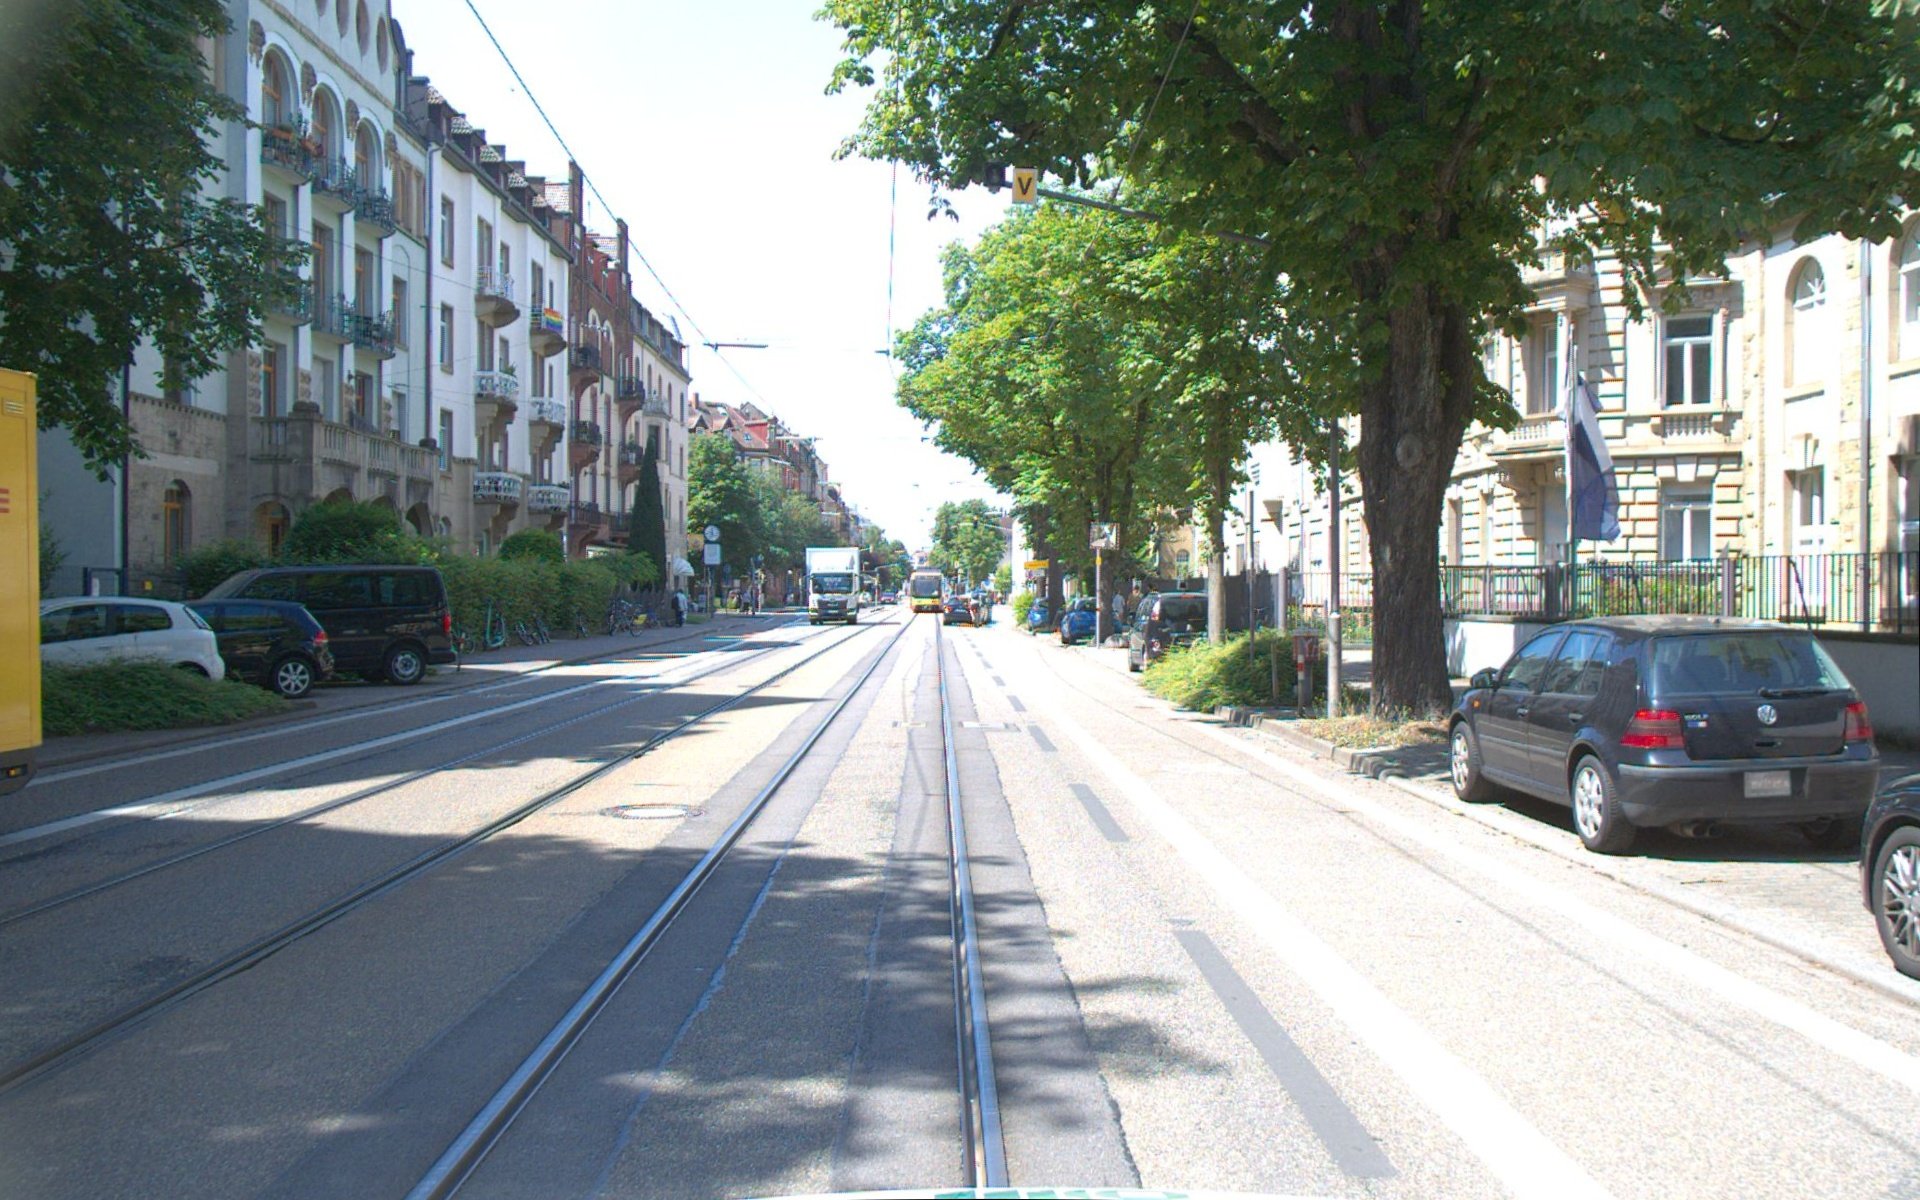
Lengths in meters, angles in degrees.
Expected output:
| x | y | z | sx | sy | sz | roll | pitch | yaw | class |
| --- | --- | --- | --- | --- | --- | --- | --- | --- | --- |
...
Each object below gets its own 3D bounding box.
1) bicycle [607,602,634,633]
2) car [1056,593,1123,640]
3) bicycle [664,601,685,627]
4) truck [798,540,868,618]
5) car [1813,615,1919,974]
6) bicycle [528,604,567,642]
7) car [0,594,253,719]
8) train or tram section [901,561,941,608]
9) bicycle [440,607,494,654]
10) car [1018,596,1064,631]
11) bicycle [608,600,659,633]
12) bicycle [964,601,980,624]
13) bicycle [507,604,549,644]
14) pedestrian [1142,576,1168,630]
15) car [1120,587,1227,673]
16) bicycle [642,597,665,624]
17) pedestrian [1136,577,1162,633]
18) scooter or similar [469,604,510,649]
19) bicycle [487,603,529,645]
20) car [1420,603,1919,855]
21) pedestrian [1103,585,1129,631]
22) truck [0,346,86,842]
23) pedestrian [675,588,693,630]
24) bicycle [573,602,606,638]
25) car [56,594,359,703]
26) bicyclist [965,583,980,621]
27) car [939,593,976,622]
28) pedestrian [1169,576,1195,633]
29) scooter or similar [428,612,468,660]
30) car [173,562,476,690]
| x | y | z | sx | sy | sz | roll | pitch | yaw | class |
| --- | --- | --- | --- | --- | --- | --- | --- | --- | --- |
| -11.339 | 0.577 | 55.297 | 0.532 | 0.986 | 1.781 | 2 | 1 | -1 | bicycle |
| 4.111 | 0.513 | 53.055 | 1.676 | 1.448 | 4.308 | 0 | 0 | -2 | car |
| -11.449 | 0.547 | 66.396 | 0.532 | 0.986 | 1.781 | 2 | 1 | -1 | bicycle |
| -6.148 | -1.043 | 81.146 | 2.880 | 3.612 | 8.451 | 0 | 1 | -1 | truck |
| 4.916 | 0.804 | 5.442 | 1.838 | 1.480 | 4.527 | 0 | 0 | -1 | car |
| -11.126 | 0.634 | 44.684 | 0.532 | 0.986 | 1.989 | 2 | -1 | -1 | bicycle |
| -11.210 | 0.675 | 20.990 | 1.675 | 1.482 | 3.787 | -1 | -1 | 43 | car |
| -2.975 | -1.221 | 130.381 | 2.973 | 3.498 | 11.969 | 0 | 0 | 0 | train or tram section |
| -11.041 | 0.667 | 37.102 | 0.532 | 0.986 | 2.248 | 2 | 1 | -1 | bicycle |
| 3.460 | 0.579 | 71.317 | 1.676 | 1.448 | 4.308 | 0 | 0 | -2 | car |
| -10.341 | 0.540 | 52.426 | 0.532 | 0.986 | 1.778 | 1 | -1 | 28 | bicycle |
| 0.526 | 0.562 | 72.860 | 0.625 | 0.986 | 1.781 | 2 | -1 | 3 | bicycle |
| -11.125 | 0.601 | 42.653 | 0.532 | 0.986 | 1.989 | 2 | 0 | -1 | bicycle |
| 6.800 | 0.109 | 57.645 | 0.792 | 1.892 | 0.623 | 0 | -1 | -3 | pedestrian |
| 4.322 | 0.579 | 33.961 | 1.560 | 1.645 | 3.906 | 0 | 0 | -2 | car |
| -11.471 | 0.392 | 61.997 | 0.532 | 0.986 | 1.781 | 2 | 0 | -1 | bicycle |
| 6.412 | 0.165 | 56.059 | 0.792 | 1.892 | 0.576 | 0 | -1 | -3 | pedestrian |
| -11.104 | 0.618 | 39.051 | 0.532 | 0.986 | 1.499 | 2 | 1 | -1 | scooter or similar |
| -11.110 | 0.589 | 40.681 | 0.532 | 0.986 | 1.822 | 2 | -1 | -1 | bicycle |
| 4.765 | 0.755 | 11.787 | 1.676 | 1.448 | 4.242 | 0 | 0 | -2 | car |
| 5.372 | 0.283 | 56.918 | 0.791 | 1.557 | 0.624 | 0 | -2 | 17 | pedestrian |
| -6.787 | 0.011 | 6.887 | 2.312 | 2.902 | 7.378 | -1 | 1 | 0 | truck |
| -10.875 | 0.356 | 65.101 | 0.561 | 1.644 | 0.816 | 0 | 0 | -1 | pedestrian |
| -11.159 | 0.590 | 49.818 | 0.532 | 0.986 | 1.990 | 2 | 1 | -1 | bicycle |
| -10.995 | 0.665 | 24.292 | 3.778 | 1.482 | 1.609 | 0 | -1 | -42 | car |
| 0.543 | 0.107 | 72.949 | 0.609 | 1.644 | 0.865 | 1 | -2 | 2 | bicyclist |
| -0.143 | 0.338 | 79.032 | 1.745 | 1.369 | 3.415 | 0 | 0 | -1 | car |
| 7.471 | 0.151 | 55.701 | 0.792 | 1.892 | 0.623 | 0 | -1 | -3 | pedestrian |
| -10.891 | 0.759 | 35.195 | 0.532 | 0.986 | 0.958 | 2 | 1 | -1 | scooter or similar |
| -10.512 | 0.403 | 27.535 | 4.444 | 1.974 | 1.680 | 0 | -1 | -40 | car |
